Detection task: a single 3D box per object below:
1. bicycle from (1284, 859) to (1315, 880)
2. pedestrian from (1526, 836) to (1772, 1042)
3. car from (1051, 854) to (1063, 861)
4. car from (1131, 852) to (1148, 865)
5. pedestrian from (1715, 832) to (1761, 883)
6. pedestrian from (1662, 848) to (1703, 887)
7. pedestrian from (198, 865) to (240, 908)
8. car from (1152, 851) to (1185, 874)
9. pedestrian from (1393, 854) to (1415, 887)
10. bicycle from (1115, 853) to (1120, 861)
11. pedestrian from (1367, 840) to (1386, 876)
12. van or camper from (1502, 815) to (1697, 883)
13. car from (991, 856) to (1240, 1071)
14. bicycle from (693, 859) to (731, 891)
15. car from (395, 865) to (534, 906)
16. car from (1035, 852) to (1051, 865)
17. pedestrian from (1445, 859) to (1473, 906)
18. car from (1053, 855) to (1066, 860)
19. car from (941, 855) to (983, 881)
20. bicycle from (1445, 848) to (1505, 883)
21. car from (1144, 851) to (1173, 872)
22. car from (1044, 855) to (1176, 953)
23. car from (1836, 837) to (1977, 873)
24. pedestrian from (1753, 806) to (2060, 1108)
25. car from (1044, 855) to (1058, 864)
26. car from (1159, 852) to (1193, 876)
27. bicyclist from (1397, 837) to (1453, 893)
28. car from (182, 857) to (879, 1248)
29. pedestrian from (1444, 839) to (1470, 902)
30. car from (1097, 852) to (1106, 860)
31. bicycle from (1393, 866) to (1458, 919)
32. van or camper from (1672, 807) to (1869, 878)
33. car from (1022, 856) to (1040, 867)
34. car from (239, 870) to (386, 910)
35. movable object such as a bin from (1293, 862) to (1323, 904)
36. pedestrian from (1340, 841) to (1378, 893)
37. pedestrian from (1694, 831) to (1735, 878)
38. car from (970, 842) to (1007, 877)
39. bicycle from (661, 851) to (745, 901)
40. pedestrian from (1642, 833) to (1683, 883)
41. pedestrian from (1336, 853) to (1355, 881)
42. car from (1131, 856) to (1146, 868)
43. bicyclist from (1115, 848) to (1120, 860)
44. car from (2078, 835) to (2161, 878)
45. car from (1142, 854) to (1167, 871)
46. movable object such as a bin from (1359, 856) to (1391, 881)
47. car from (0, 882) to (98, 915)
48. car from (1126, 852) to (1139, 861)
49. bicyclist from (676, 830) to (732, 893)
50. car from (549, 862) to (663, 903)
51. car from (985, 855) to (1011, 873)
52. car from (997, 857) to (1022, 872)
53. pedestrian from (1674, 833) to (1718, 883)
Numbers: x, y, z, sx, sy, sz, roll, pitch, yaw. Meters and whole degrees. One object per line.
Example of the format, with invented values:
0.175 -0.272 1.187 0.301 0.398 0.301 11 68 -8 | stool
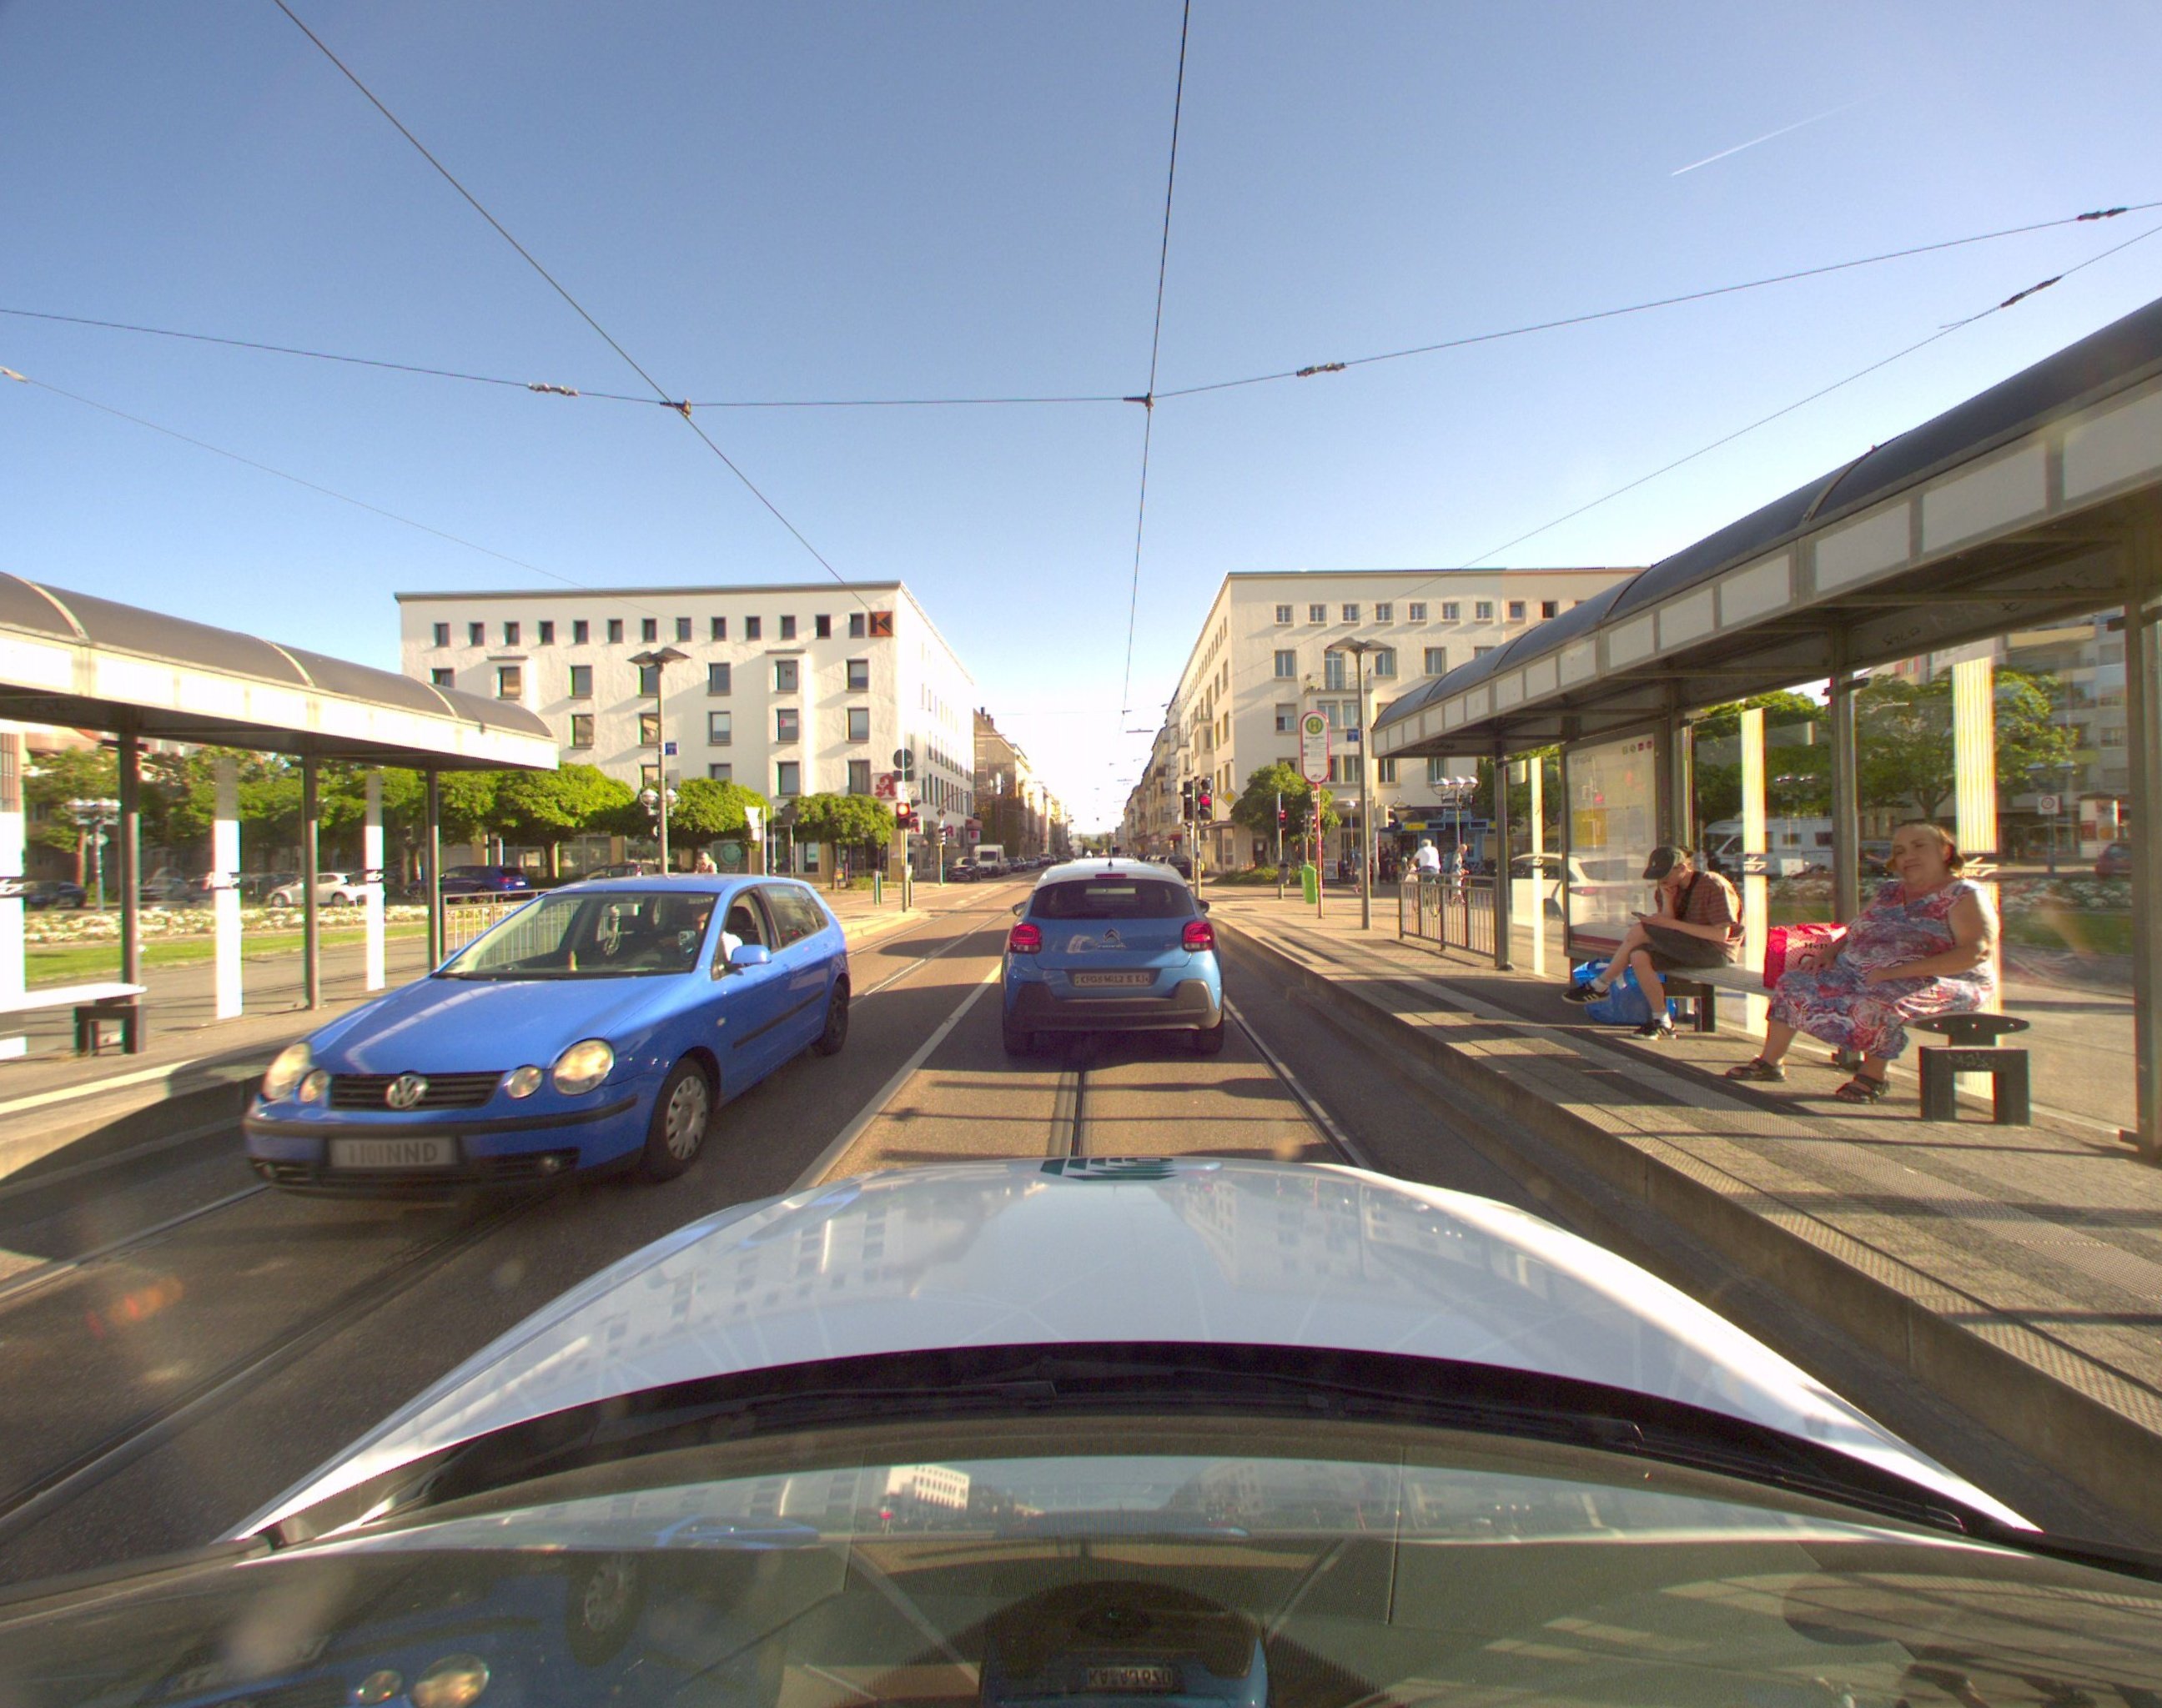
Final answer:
11.427 0.813 42.582 1.556 1.120 0.301 0 -1 12 | bicycle
3.717 0.523 5.431 0.995 1.225 0.923 2 -1 1 | pedestrian
-4.574 0.690 153.952 1.986 1.156 4.002 -1 0 2 | car
7.351 0.549 102.219 1.986 1.464 4.507 -1 0 2 | car
21.187 0.115 26.278 0.897 1.585 0.663 -1 0 5 | pedestrian
20.117 0.457 27.263 0.896 1.279 0.606 -1 0 7 | pedestrian
-37.301 1.408 35.258 0.938 1.817 0.872 -1 0 13 | pedestrian
6.105 0.586 57.109 1.986 1.464 4.002 -1 0 2 | car
14.623 0.750 36.874 0.727 1.409 0.755 -1 3 2 | pedestrian
6.513 0.602 144.996 0.916 1.389 3.133 -1 0 2 | bicycle
15.353 0.213 42.321 0.781 1.839 0.679 -1 0 5 | pedestrian
22.862 -0.238 36.171 7.093 2.747 2.372 -1 1 2 | van or camper
0.296 0.763 7.572 1.721 1.482 3.828 0 0 2 | car
-19.829 1.100 43.845 0.614 1.607 2.625 -1 0 6 | bicycle
-27.369 1.364 36.267 4.591 1.662 1.999 -1 0 -1 | car
-5.867 0.681 127.200 1.997 2.014 4.694 0 -1 4 | car
10.041 0.756 21.642 0.554 1.225 0.528 0 -1 12 | pedestrian
-4.843 0.730 185.304 1.981 1.156 4.528 -1 0 11 | car
-7.652 0.907 52.853 1.987 1.569 4.403 2 -1 1 | car
17.720 0.510 36.670 2.376 1.531 0.726 1 0 0 | bicycle
5.937 0.548 63.051 1.986 1.501 4.002 -1 0 2 | car
0.501 0.758 14.661 1.977 1.464 4.817 0 0 2 | car
36.610 0.054 36.244 3.959 1.511 2.007 0 -1 13 | car
3.982 0.465 3.985 0.855 1.334 0.623 2 -1 1 | pedestrian
-5.096 0.970 137.073 1.946 1.552 3.942 0 -1 4 | car
6.098 0.642 52.590 1.902 1.464 4.002 -1 0 2 | car
7.741 0.239 18.368 0.946 1.225 0.935 1 0 7 | bicyclist
-2.662 0.785 5.199 1.661 1.487 4.000 -1 0 1 | car
10.542 0.452 22.845 0.554 1.745 0.528 0 -1 12 | pedestrian
4.652 0.474 184.051 1.986 1.772 4.002 -1 0 2 | car
7.694 0.821 18.308 0.715 1.061 2.327 1 0 6 | bicycle
30.123 -0.477 35.799 6.375 2.839 2.381 -1 0 5 | van or camper
-6.378 0.982 103.658 1.987 1.325 3.923 0 -1 1 | car
-33.512 1.548 35.605 4.591 1.606 1.855 -1 0 -1 | car
4.350 0.544 15.623 0.447 0.786 0.489 -1 0 4 | movable object such as a bin
10.300 0.486 30.162 0.978 1.878 1.128 -1 -1 -1 | pedestrian
21.786 0.032 28.017 0.897 1.585 0.663 -1 0 5 | pedestrian
-7.119 0.395 63.212 2.078 2.542 6.206 0 0 1 | car
-8.949 0.506 19.374 0.723 1.113 1.984 -1 0 14 | bicycle
20.002 0.131 28.027 0.897 1.685 0.696 -1 0 5 | pedestrian
12.666 0.638 39.009 0.733 1.316 0.631 -1 0 25 | pedestrian
7.759 1.081 109.348 1.984 1.552 4.005 -1 0 4 | car
6.494 0.002 145.020 0.806 2.014 0.923 0 -1 1 | bicyclist
38.675 0.053 29.152 3.983 1.486 1.995 -1 0 -7 | car
6.573 0.773 73.209 1.986 1.464 4.002 -1 0 2 | car
14.482 0.706 40.141 1.194 1.153 1.218 -1 0 2 | movable object such as a bin
-52.225 2.193 40.992 1.925 1.494 4.314 0 -1 -27 | car
8.394 0.411 133.306 1.986 1.464 4.002 -1 0 2 | car
-8.948 0.181 19.368 0.822 1.455 0.880 0 -1 13 | bicyclist
-21.243 1.266 36.528 3.973 1.706 1.826 -1 0 1 | car
-7.103 0.890 69.961 1.881 1.496 3.562 0 -1 1 | car
-6.840 0.967 78.538 1.987 1.398 4.157 0 -1 1 | car
20.036 0.123 26.544 0.897 1.585 0.663 -1 0 5 | pedestrian
